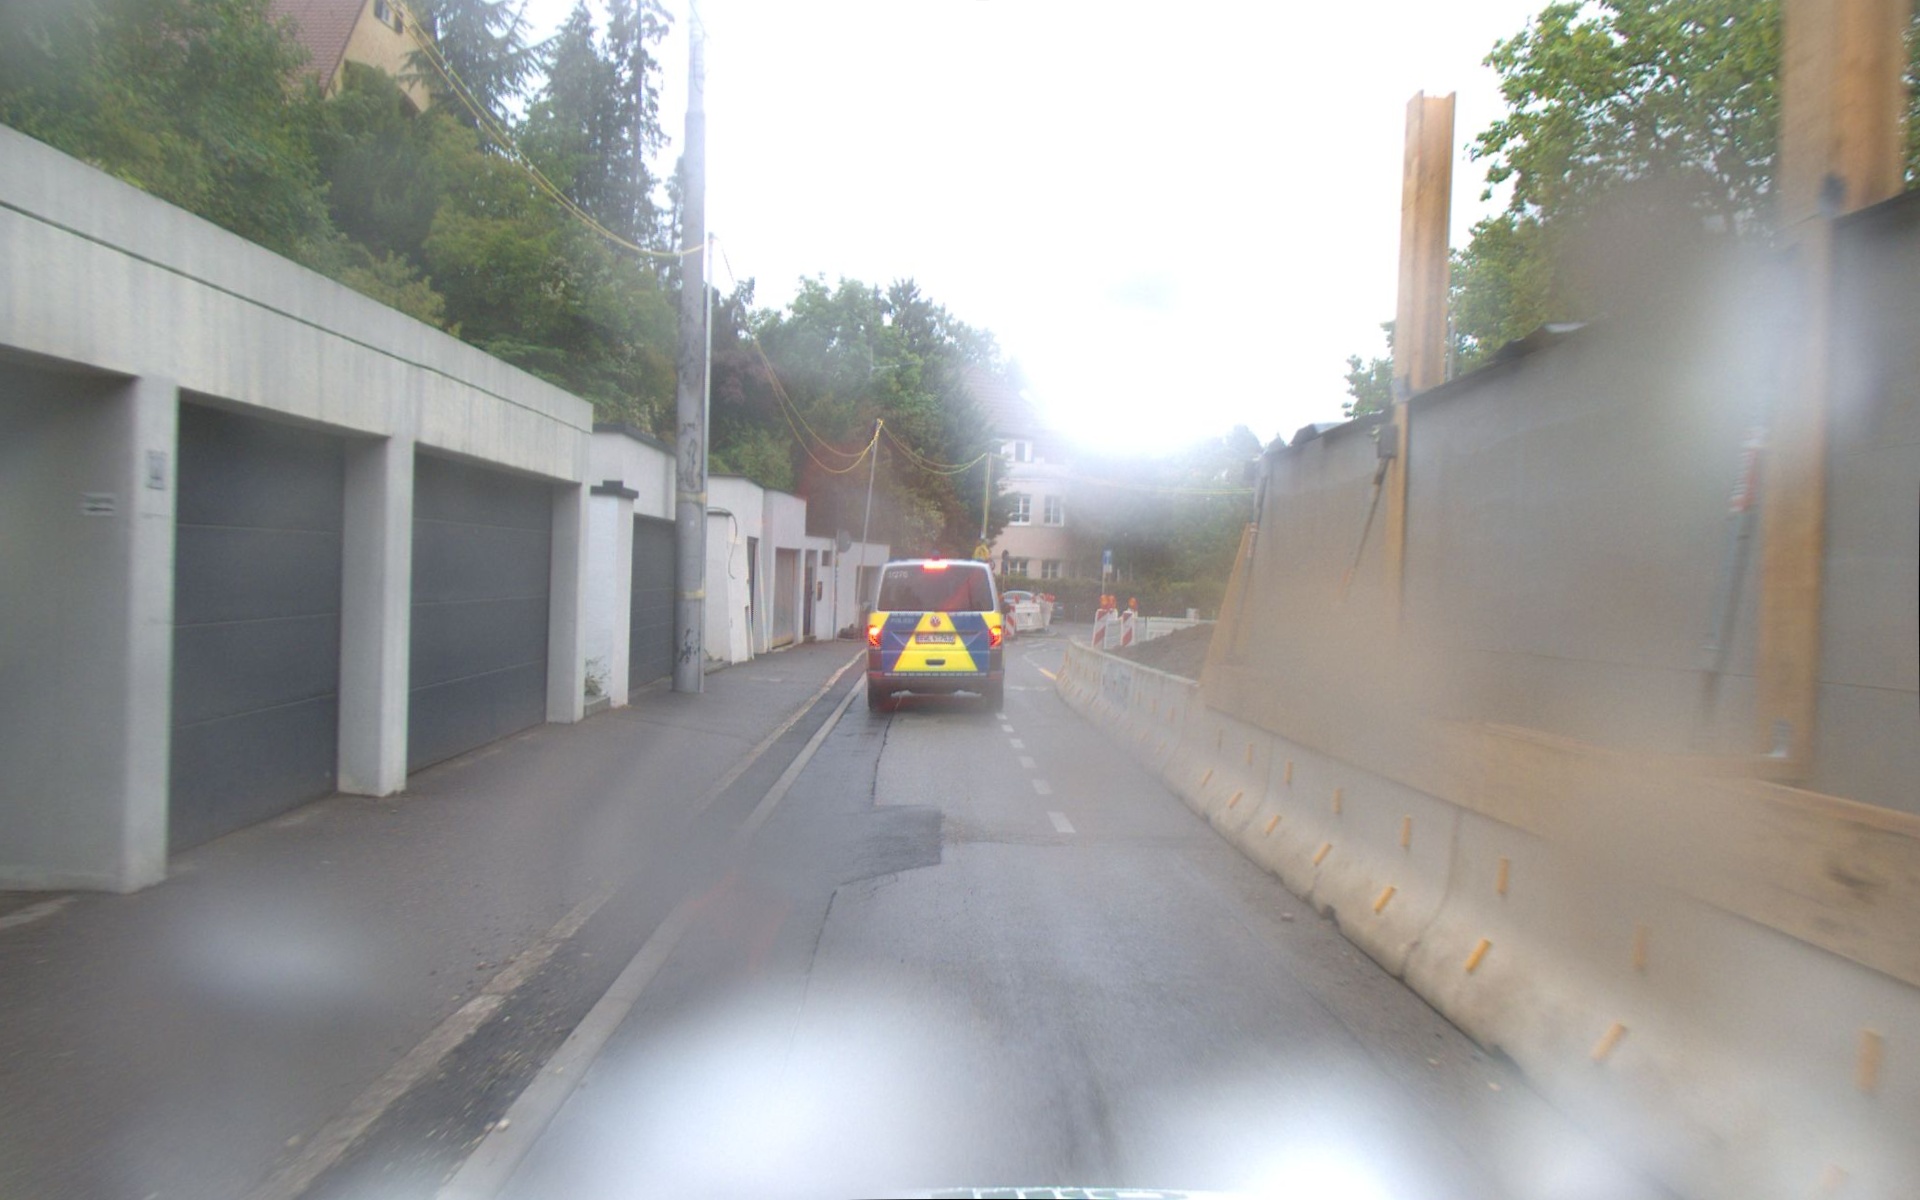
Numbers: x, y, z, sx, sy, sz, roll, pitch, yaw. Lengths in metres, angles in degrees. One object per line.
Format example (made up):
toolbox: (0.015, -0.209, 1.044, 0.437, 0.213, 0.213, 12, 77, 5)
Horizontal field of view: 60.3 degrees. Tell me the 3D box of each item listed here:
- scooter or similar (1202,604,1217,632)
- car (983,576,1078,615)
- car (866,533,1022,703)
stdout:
scooter or similar: (11.146, 0.797, 73.883, 0.455, 1.207, 1.025, 3, -1, 0)
car: (3.207, -0.208, 75.415, 3.913, 1.544, 1.725, 3, -1, 29)
car: (-0.223, 0.258, 23.242, 1.869, 2.045, 4.438, 3, -1, -1)
